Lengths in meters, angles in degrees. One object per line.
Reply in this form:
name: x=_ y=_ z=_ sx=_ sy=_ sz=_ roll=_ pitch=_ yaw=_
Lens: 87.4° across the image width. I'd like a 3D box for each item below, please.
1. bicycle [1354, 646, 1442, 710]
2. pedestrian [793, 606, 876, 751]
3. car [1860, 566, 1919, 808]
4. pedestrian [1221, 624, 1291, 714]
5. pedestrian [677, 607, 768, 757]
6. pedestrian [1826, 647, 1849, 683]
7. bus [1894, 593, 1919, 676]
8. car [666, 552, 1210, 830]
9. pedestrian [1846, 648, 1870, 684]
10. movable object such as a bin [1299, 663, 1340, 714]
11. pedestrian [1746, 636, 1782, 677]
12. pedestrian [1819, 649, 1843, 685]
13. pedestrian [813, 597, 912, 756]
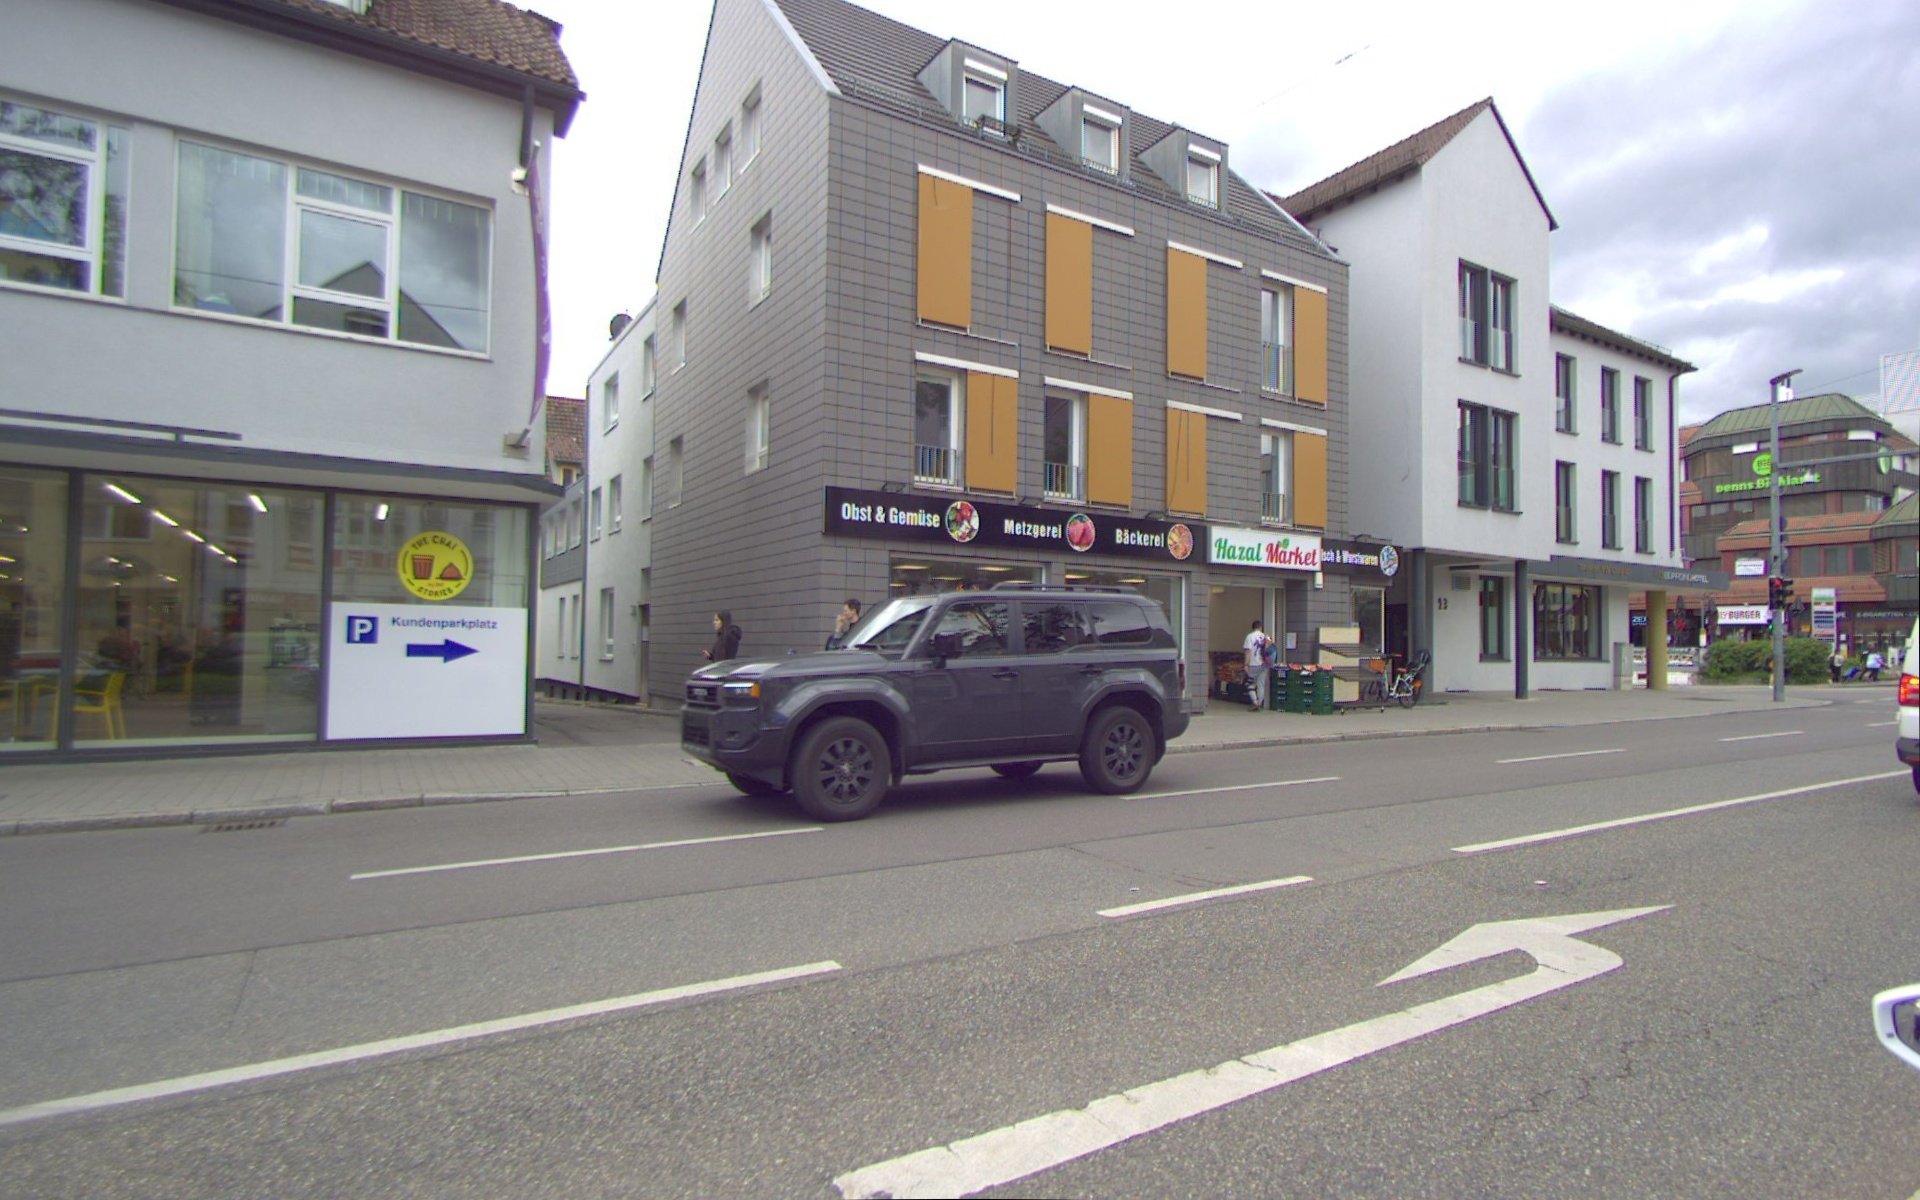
bicycle: x=8.972 y=1.576 z=20.538 sx=2.096 sy=1.248 sz=0.579 roll=2 pitch=-2 yaw=-33
pedestrian: x=-1.635 y=1.000 z=13.031 sx=0.859 sy=1.805 sz=0.704 roll=1 pitch=-2 yaw=-30
car: x=10.465 y=0.794 z=9.217 sx=4.785 sy=2.040 sz=1.983 roll=2 pitch=-1 yaw=-31
pedestrian: x=5.670 y=1.290 z=19.230 sx=0.960 sy=1.665 sz=0.883 roll=1 pitch=-2 yaw=-31
pedestrian: x=-2.855 y=0.958 z=12.054 sx=0.859 sy=1.720 sz=0.800 roll=1 pitch=-2 yaw=-29
pedestrian: x=39.828 y=2.955 z=45.604 sx=0.519 sy=1.609 sz=0.635 roll=1 pitch=-2 yaw=-29
bus: x=44.842 y=1.400 z=42.389 sx=12.127 sy=3.370 sz=2.983 roll=1 pitch=-4 yaw=-22
car: x=-0.091 y=0.757 z=9.284 sx=4.716 sy=1.994 sz=1.913 roll=2 pitch=-4 yaw=-32
pedestrian: x=40.276 y=2.957 z=45.050 sx=0.648 sy=1.609 sz=0.635 roll=1 pitch=-2 yaw=-29
movable object such as a bin: x=6.826 y=1.672 z=19.098 sx=0.501 sy=0.911 sz=0.548 roll=1 pitch=-1 yaw=-32
pedestrian: x=35.705 y=2.511 z=44.623 sx=0.933 sy=1.778 sz=0.944 roll=1 pitch=-2 yaw=-29
pedestrian: x=38.817 y=2.985 z=44.769 sx=0.519 sy=1.609 sz=0.635 roll=1 pitch=-2 yaw=-29
pedestrian: x=-1.202 y=0.924 z=12.406 sx=1.016 sy=1.863 sz=0.704 roll=1 pitch=-2 yaw=-30
